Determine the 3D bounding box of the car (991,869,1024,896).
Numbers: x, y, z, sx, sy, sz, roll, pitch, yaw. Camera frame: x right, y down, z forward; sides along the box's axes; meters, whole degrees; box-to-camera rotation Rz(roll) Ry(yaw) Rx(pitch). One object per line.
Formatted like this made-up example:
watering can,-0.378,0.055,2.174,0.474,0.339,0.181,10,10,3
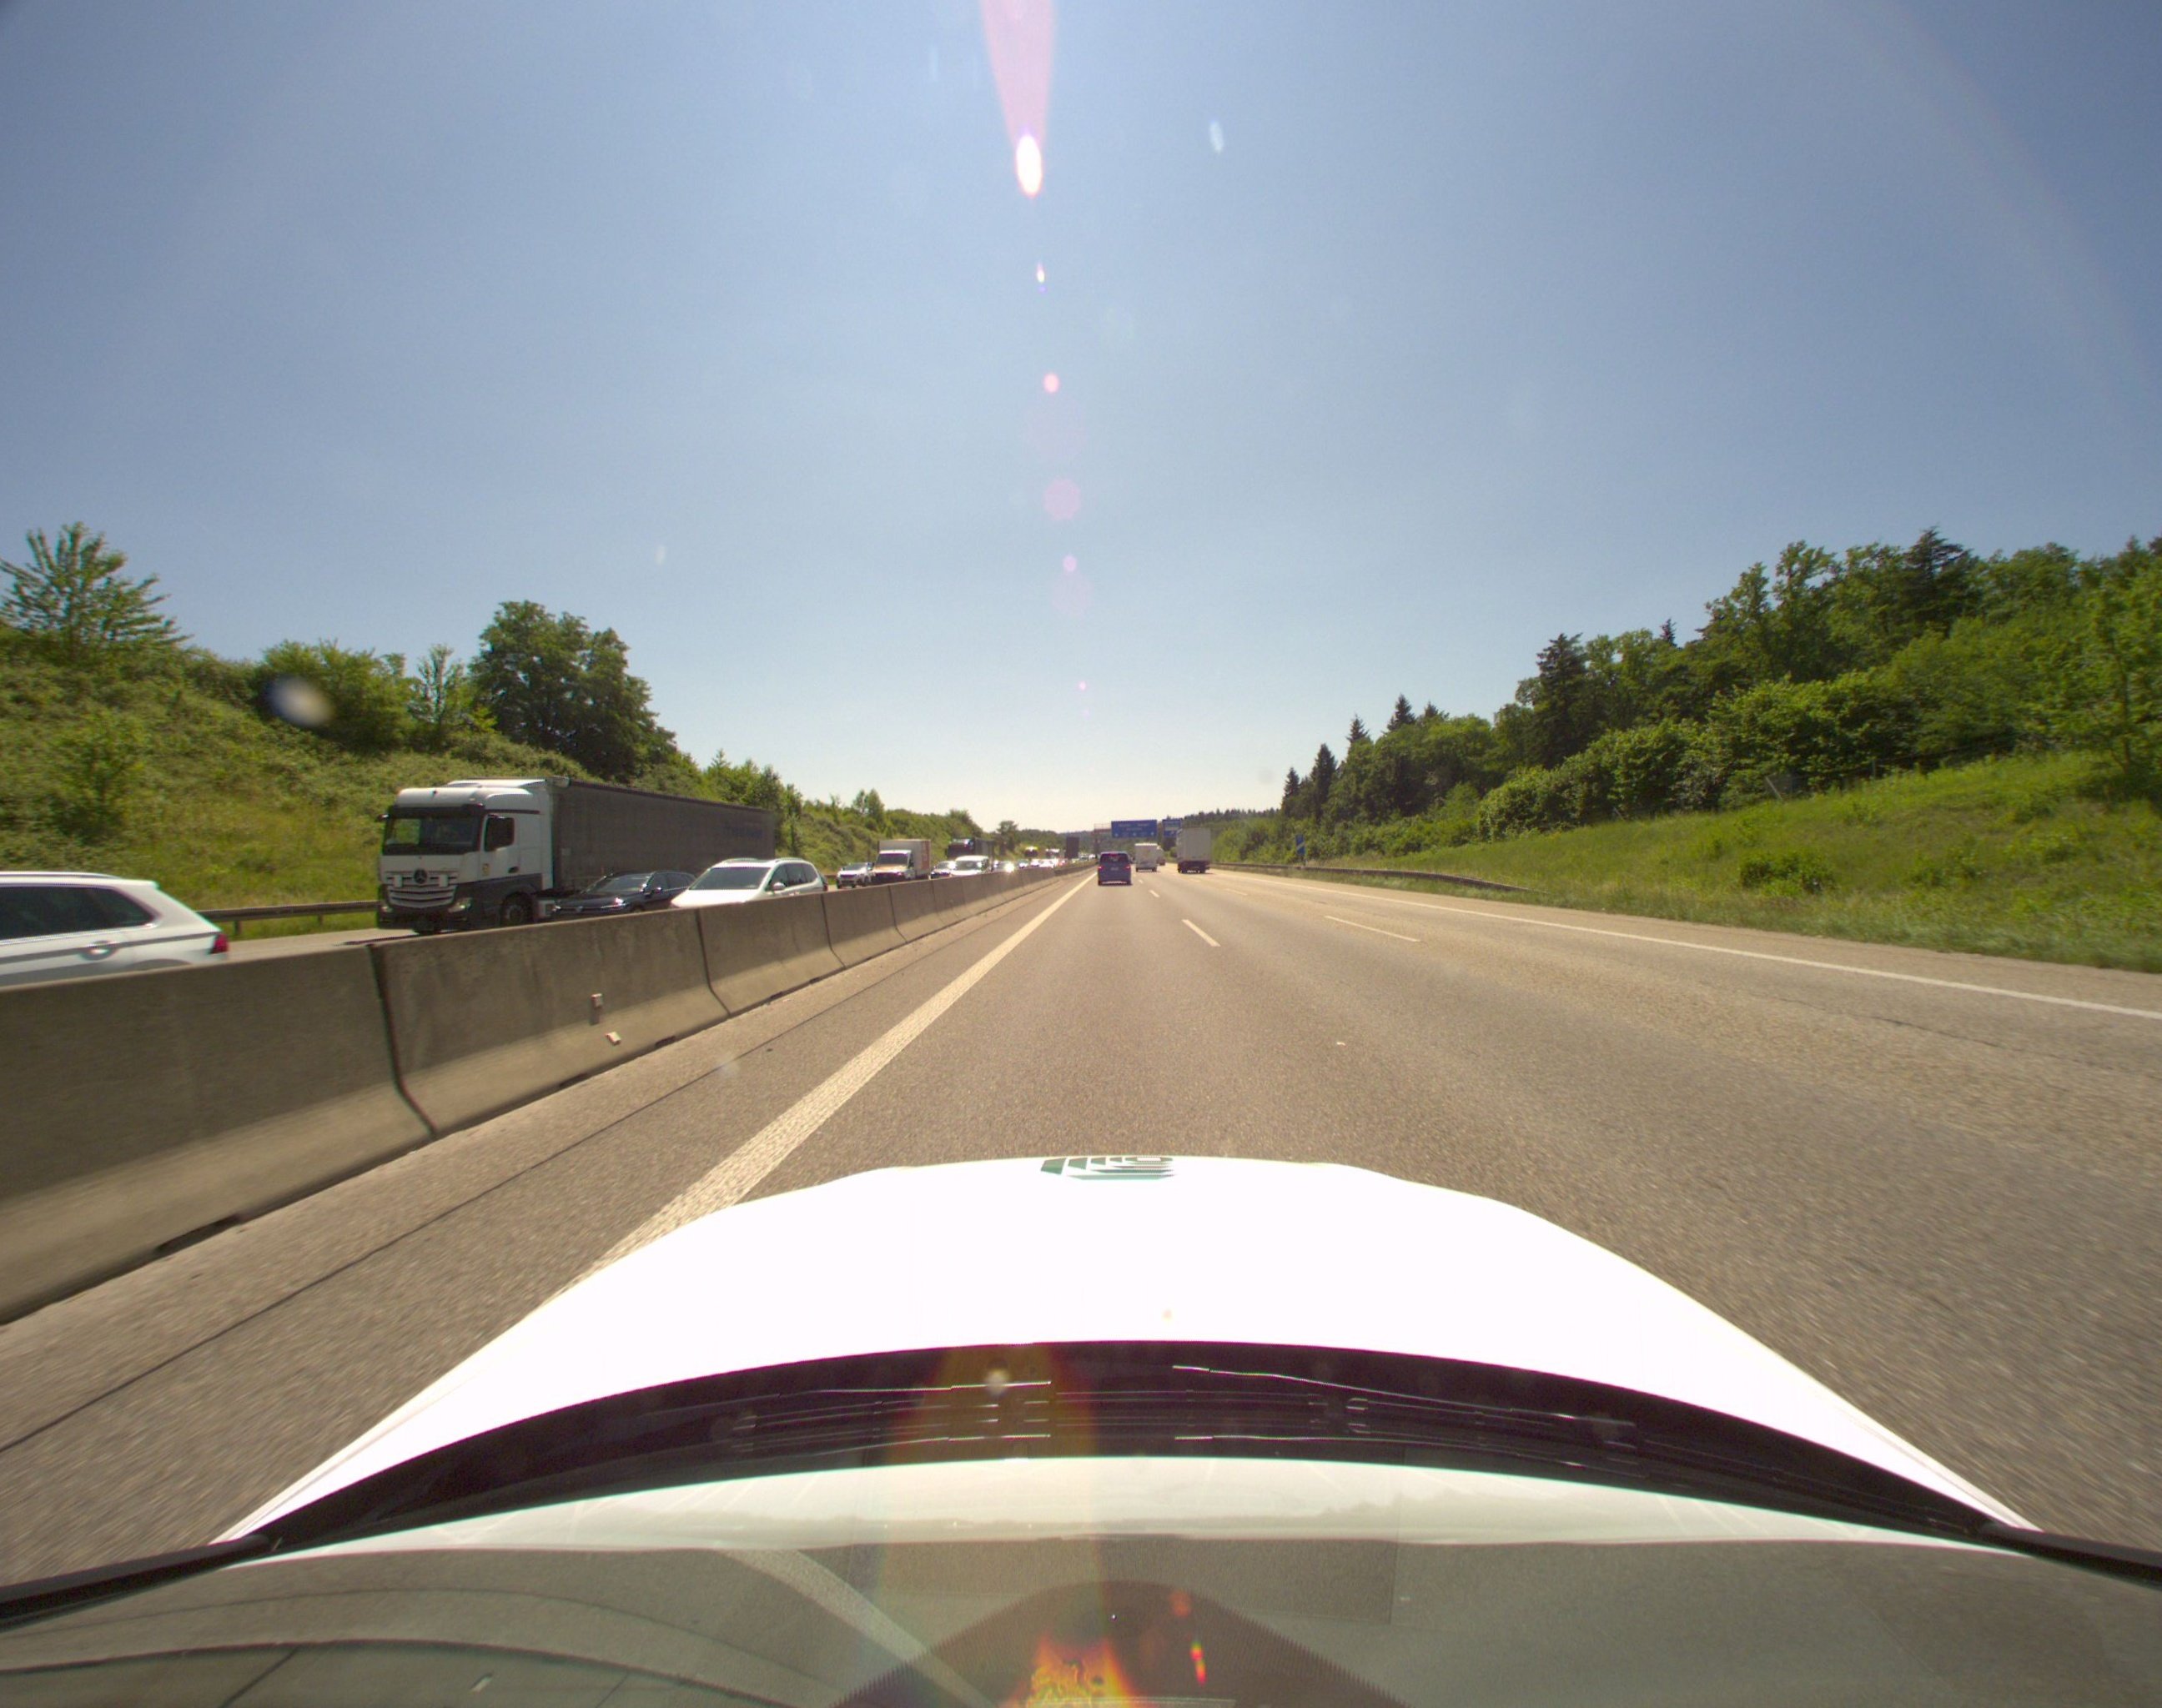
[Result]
car,-5.208,1.998,58.191,1.821,1.764,4.991,0,-1,1

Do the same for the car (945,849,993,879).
car,-6.160,0.569,45.394,1.821,1.565,5.112,0,-1,1

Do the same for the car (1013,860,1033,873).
car,-7.365,1.577,103.653,1.804,1.629,5.223,-1,-1,3

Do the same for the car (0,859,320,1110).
car,-8.510,0.922,5.574,1.821,1.764,4.991,0,-1,1

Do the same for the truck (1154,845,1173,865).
truck,15.021,0.135,149.249,2.915,3.575,8.534,-2,0,3

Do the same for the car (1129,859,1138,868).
car,10.924,1.941,169.710,1.810,1.794,3.897,0,-1,3

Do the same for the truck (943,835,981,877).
truck,-12.251,0.244,84.512,2.807,4.203,5.634,-1,-1,3

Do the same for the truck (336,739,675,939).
truck,-15.215,-0.273,22.790,2.929,4.516,8.612,-1,-1,3

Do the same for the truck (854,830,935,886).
truck,-10.280,0.262,45.585,2.557,2.845,6.759,-1,-1,4

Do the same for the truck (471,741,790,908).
truck,-14.836,-0.698,29.254,2.982,4.543,13.935,-1,-1,3

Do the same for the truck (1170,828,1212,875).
truck,10.176,-0.159,76.271,2.773,4.128,9.741,0,-1,1

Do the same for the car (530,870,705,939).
car,-11.018,1.122,19.771,1.589,1.456,4.483,0,-1,1

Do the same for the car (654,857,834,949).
car,-7.229,0.978,18.133,1.821,1.764,4.991,0,-1,1

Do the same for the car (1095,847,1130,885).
car,1.810,0.643,46.917,1.902,2.013,4.002,-1,1,2

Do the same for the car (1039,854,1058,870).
car,-3.690,0.909,93.205,1.821,1.764,4.991,0,-1,1

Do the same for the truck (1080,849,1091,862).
truck,1.119,0.391,193.823,2.111,2.842,6.217,0,-1,3

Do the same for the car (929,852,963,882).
car,-9.430,0.930,57.064,1.617,2.014,4.001,0,-1,2

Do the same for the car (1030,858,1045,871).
car,-6.373,1.560,119.202,1.821,1.764,4.991,0,-1,1

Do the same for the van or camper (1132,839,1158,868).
van or camper,6.924,-0.061,89.049,2.592,3.078,7.187,0,0,3

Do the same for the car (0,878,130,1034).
car,-11.878,1.031,7.083,1.821,1.565,4.524,0,-1,1

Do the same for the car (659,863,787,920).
car,-10.759,1.070,24.895,1.821,1.565,4.524,0,-1,1

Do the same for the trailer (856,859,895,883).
trailer,-13.916,1.163,55.263,1.688,1.587,3.223,0,-1,2

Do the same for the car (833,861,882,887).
car,-14.082,1.236,51.479,1.726,1.587,4.371,0,-1,2

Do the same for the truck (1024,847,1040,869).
truck,-9.245,0.865,154.526,2.593,4.065,6.134,0,-1,1
